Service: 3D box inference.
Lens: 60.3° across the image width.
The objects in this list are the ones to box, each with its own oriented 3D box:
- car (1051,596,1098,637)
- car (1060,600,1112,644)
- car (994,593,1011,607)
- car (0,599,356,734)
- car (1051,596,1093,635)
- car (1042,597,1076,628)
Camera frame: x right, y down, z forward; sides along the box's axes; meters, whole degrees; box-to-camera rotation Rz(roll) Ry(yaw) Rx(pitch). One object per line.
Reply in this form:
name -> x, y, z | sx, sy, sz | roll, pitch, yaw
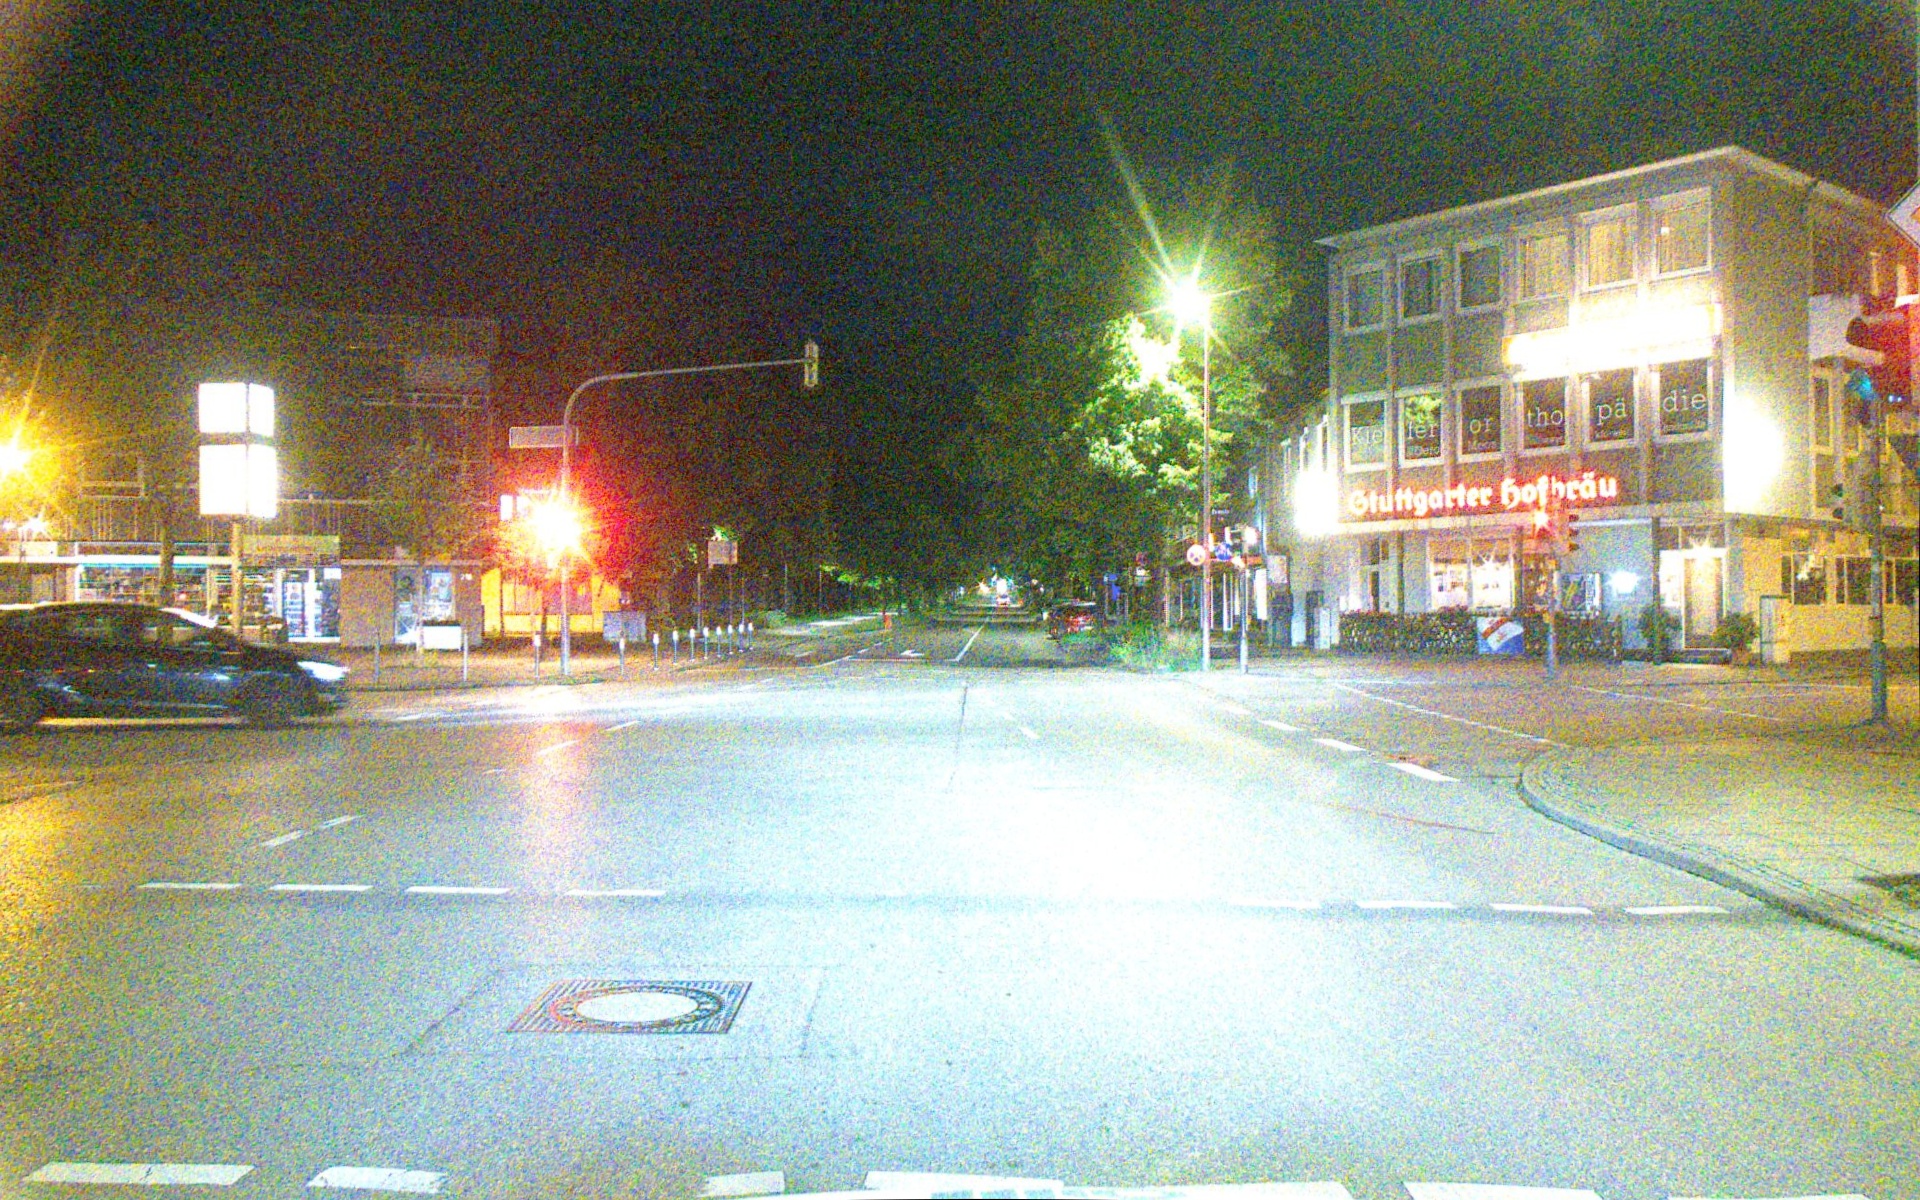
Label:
car -> 4.730, 0.683, 68.864 | 1.837, 1.643, 4.001 | 0, 0, 2
car -> 4.804, 0.835, 63.571 | 1.837, 1.643, 4.001 | 0, 0, 2
car -> 5.318, -0.004, 207.166 | 2.181, 1.680, 4.000 | 0, 0, 1
car -> -9.521, 0.764, 19.712 | 4.246, 1.479, 1.866 | 1, 0, -24
car -> 5.155, 0.712, 76.541 | 1.837, 1.759, 4.001 | 0, 0, 2
car -> 5.660, 0.705, 94.610 | 1.837, 1.713, 4.001 | 0, 0, 2
